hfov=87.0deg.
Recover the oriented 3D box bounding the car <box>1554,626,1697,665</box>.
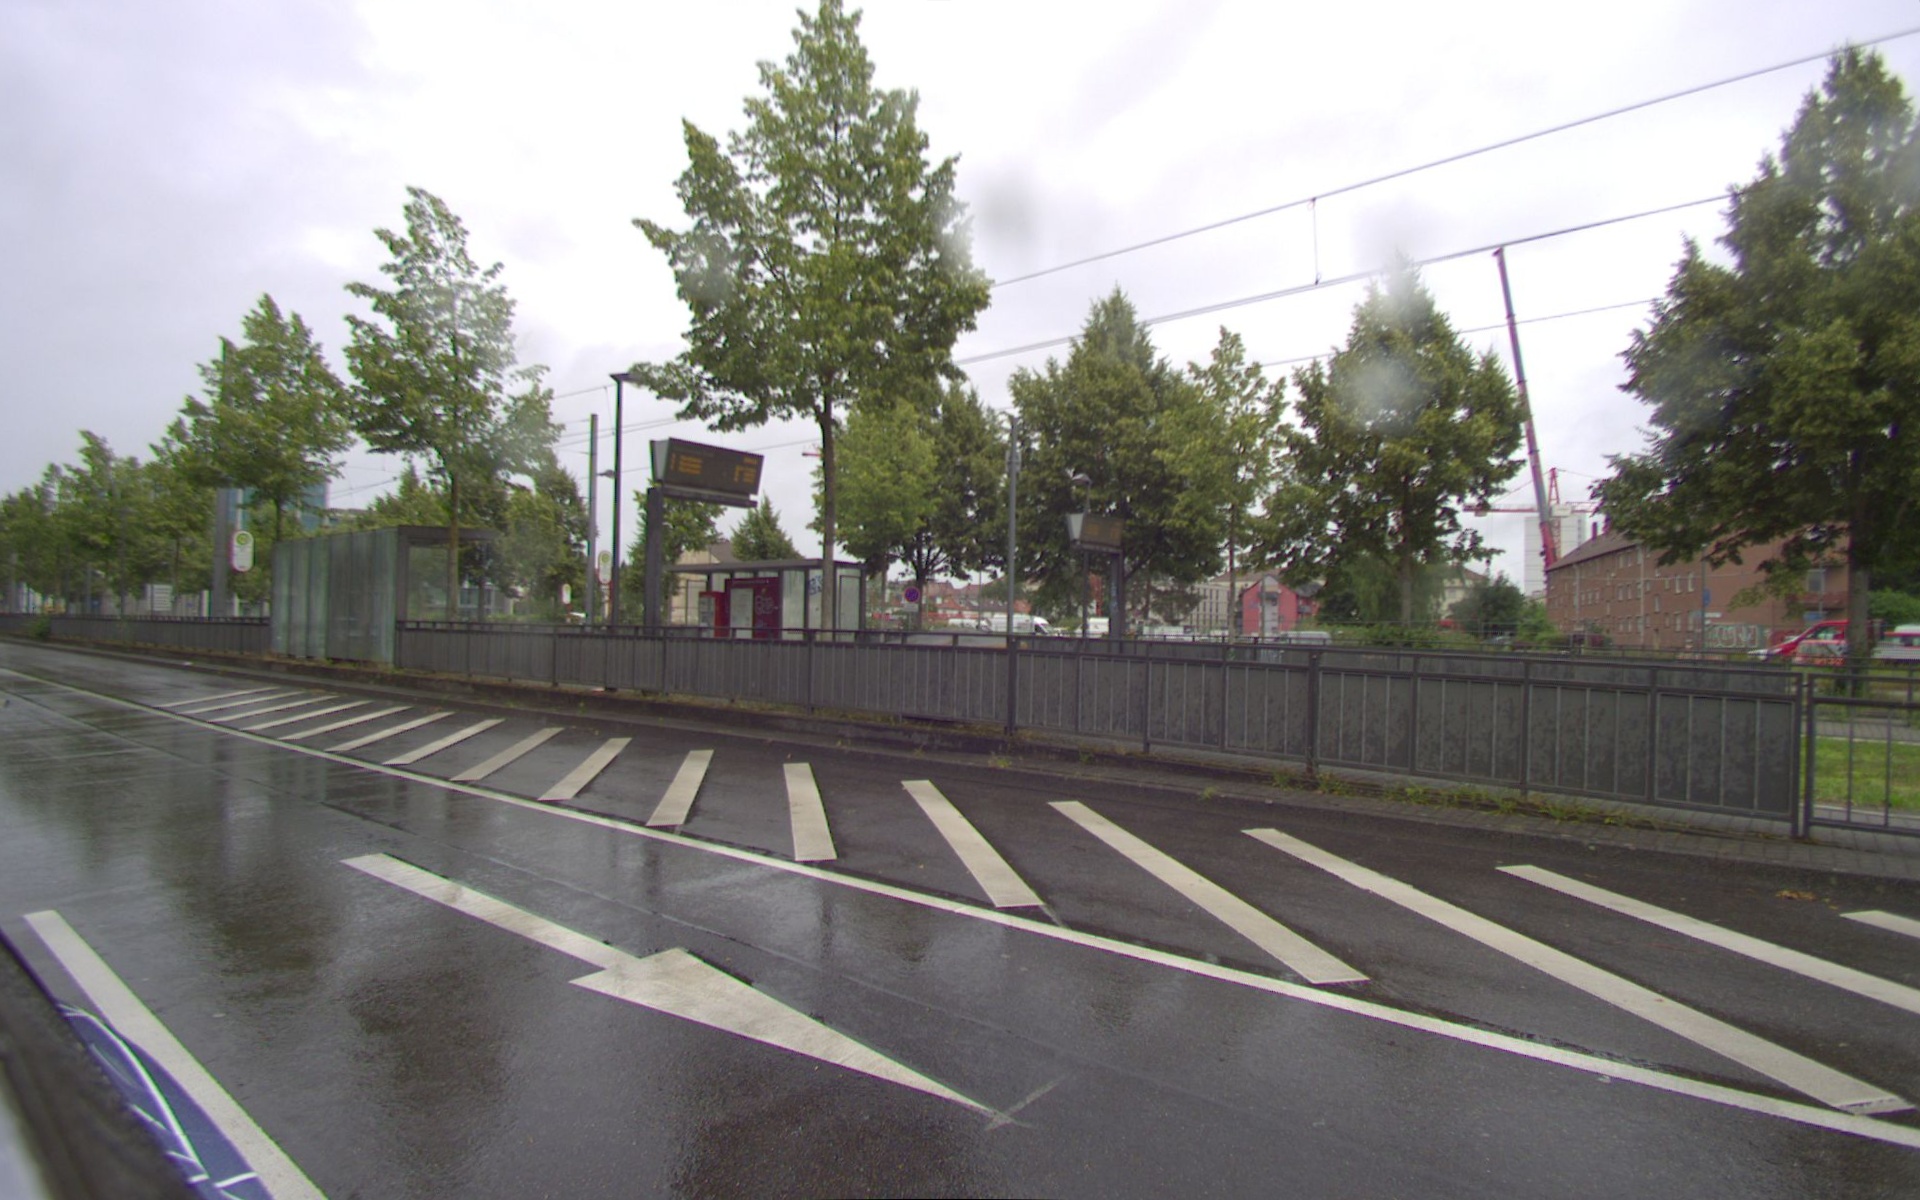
[{"bbox_3d":[37.145,2.491,56.753,6.393,2.029,2.336,-1,0,26],"label":"car"}]

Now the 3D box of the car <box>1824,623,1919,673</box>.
[{"bbox_3d":[40.247,1.996,41.898,2.319,2.029,6.440,2,-3,-38],"label":"car"}]

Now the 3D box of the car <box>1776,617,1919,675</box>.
[{"bbox_3d":[34.758,1.677,37.670,2.319,2.029,6.441,-1,0,-38],"label":"car"}]

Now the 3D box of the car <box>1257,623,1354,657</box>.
[{"bbox_3d":[26.589,3.051,77.985,6.804,2.495,2.335,0,-2,28],"label":"car"}]

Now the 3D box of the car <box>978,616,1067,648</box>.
[{"bbox_3d":[5.242,2.667,85.998,7.627,2.495,2.327,-1,0,38],"label":"car"}]

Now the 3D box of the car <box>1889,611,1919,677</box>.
[{"bbox_3d":[46.014,1.995,45.145,2.319,2.961,6.441,-1,0,-38],"label":"car"}]

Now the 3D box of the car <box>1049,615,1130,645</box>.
[{"bbox_3d":[11.400,2.586,89.324,6.824,2.495,2.471,-1,0,37],"label":"car"}]

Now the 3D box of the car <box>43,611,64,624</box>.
[{"bbox_3d":[-137.554,2.657,153.555,3.999,2.029,1.972,-1,0,42],"label":"car"}]
